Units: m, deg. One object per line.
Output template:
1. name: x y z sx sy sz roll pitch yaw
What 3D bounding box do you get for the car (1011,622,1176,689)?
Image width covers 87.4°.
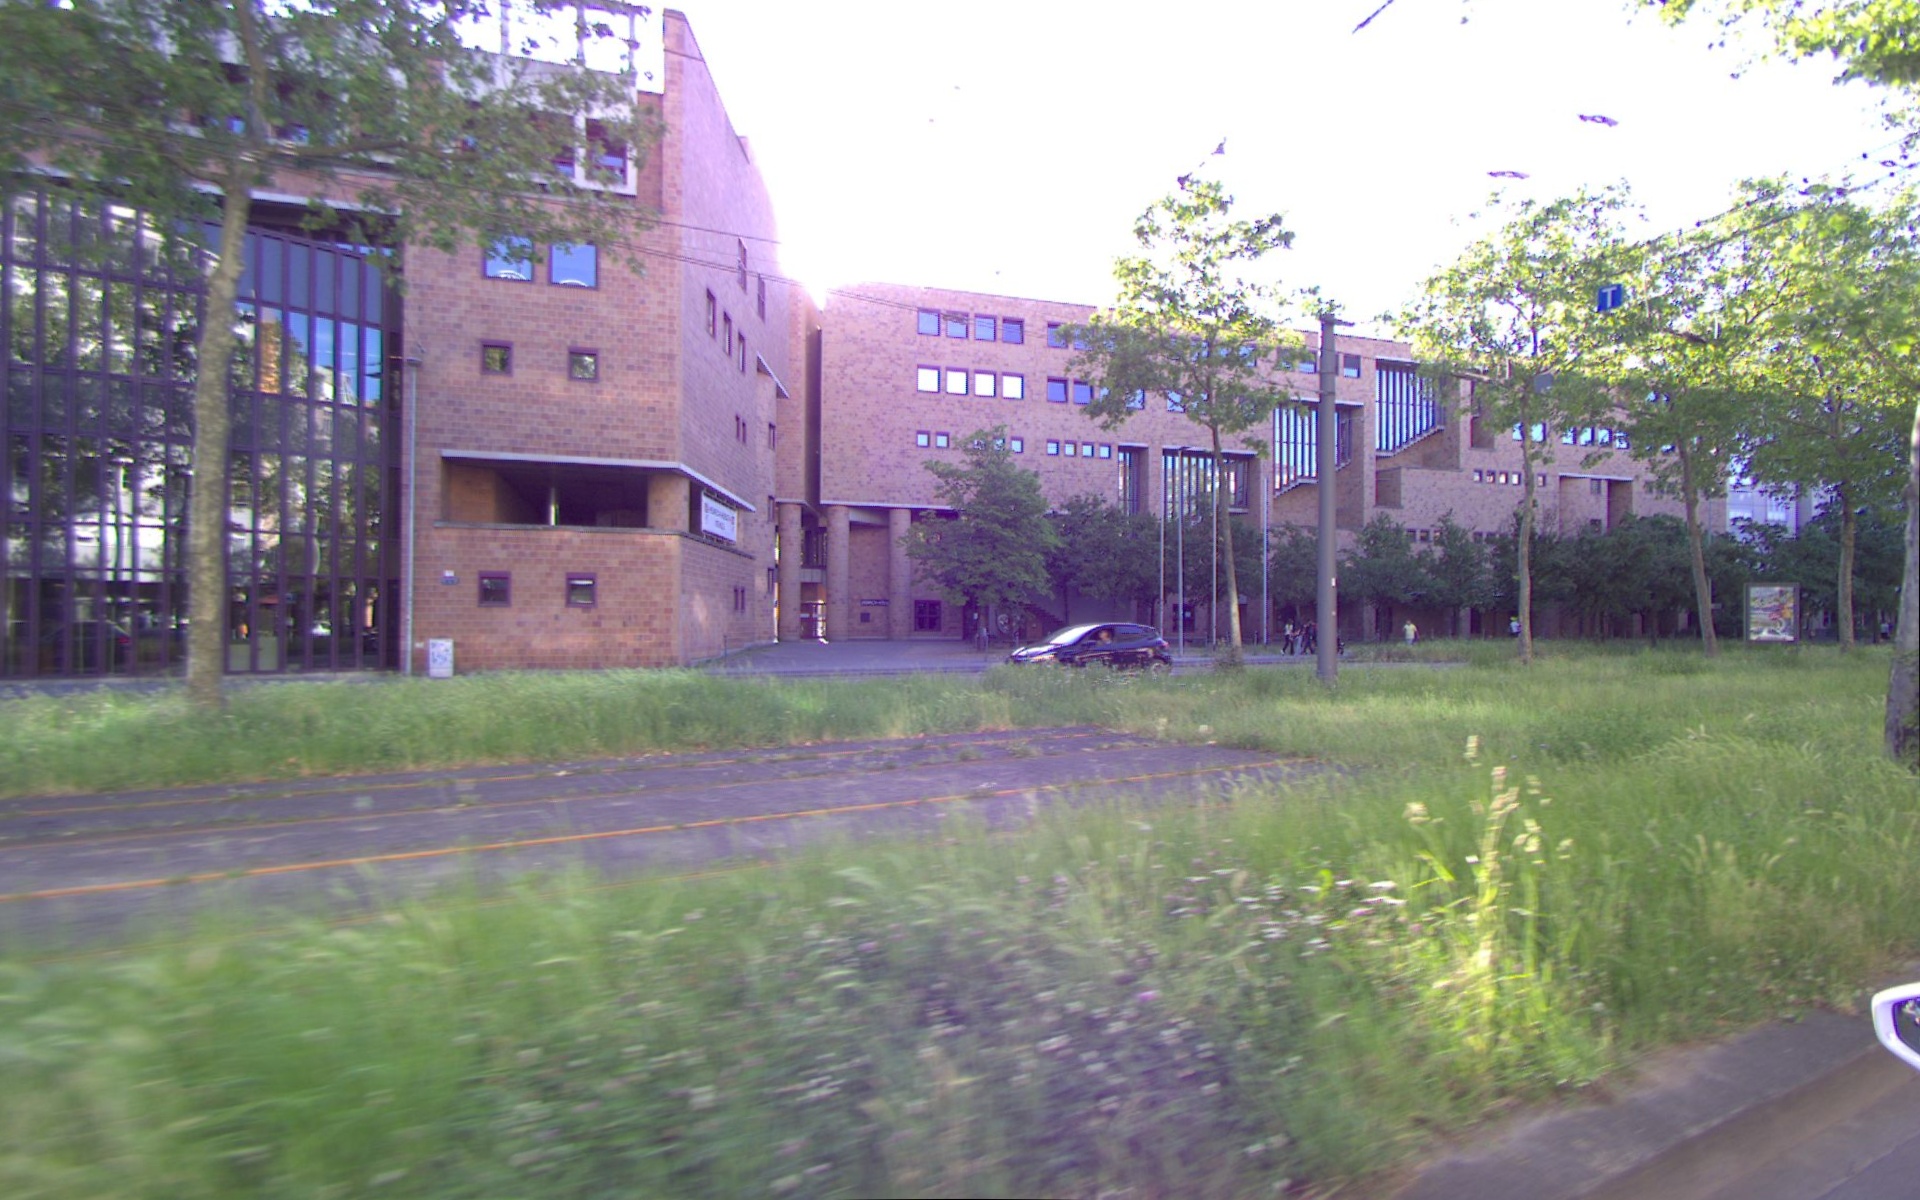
1. car: 3.080 1.205 22.958 3.698 1.417 1.582 1 -1 -36

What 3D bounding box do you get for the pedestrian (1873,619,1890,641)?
1. pedestrian: 64.353 2.096 70.157 0.667 1.541 0.630 0 -1 -14

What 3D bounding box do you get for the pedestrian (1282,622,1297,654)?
1. pedestrian: 14.648 1.685 44.635 0.452 1.435 0.390 0 -1 -22

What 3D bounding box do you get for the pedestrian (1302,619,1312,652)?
1. pedestrian: 15.673 1.602 45.318 0.311 1.476 0.292 0 -1 -23

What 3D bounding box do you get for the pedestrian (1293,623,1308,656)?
1. pedestrian: 14.883 1.710 43.920 0.477 1.435 0.390 0 -1 -22

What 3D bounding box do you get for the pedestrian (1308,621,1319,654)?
1. pedestrian: 15.823 1.668 44.955 0.337 1.476 0.317 0 -1 -23

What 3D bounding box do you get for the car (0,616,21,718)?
1. car: -16.847 1.059 14.658 4.295 1.583 1.812 -1 0 -33

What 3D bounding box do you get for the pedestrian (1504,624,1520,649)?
1. pedestrian: 28.792 1.898 52.403 0.514 1.308 0.501 0 -1 -24

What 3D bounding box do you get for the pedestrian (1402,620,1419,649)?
1. pedestrian: 20.890 1.602 46.534 0.514 1.308 0.501 0 -1 -24

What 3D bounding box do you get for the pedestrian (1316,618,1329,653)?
1. pedestrian: 16.104 1.573 44.651 0.417 1.543 0.364 0 -1 -21

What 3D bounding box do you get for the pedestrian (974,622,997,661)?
1. pedestrian: 1.242 2.043 49.564 0.867 1.906 0.976 0 -1 -19

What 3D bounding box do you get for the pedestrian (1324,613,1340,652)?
1. pedestrian: 16.617 1.456 44.838 0.473 1.727 0.435 0 -1 -22
